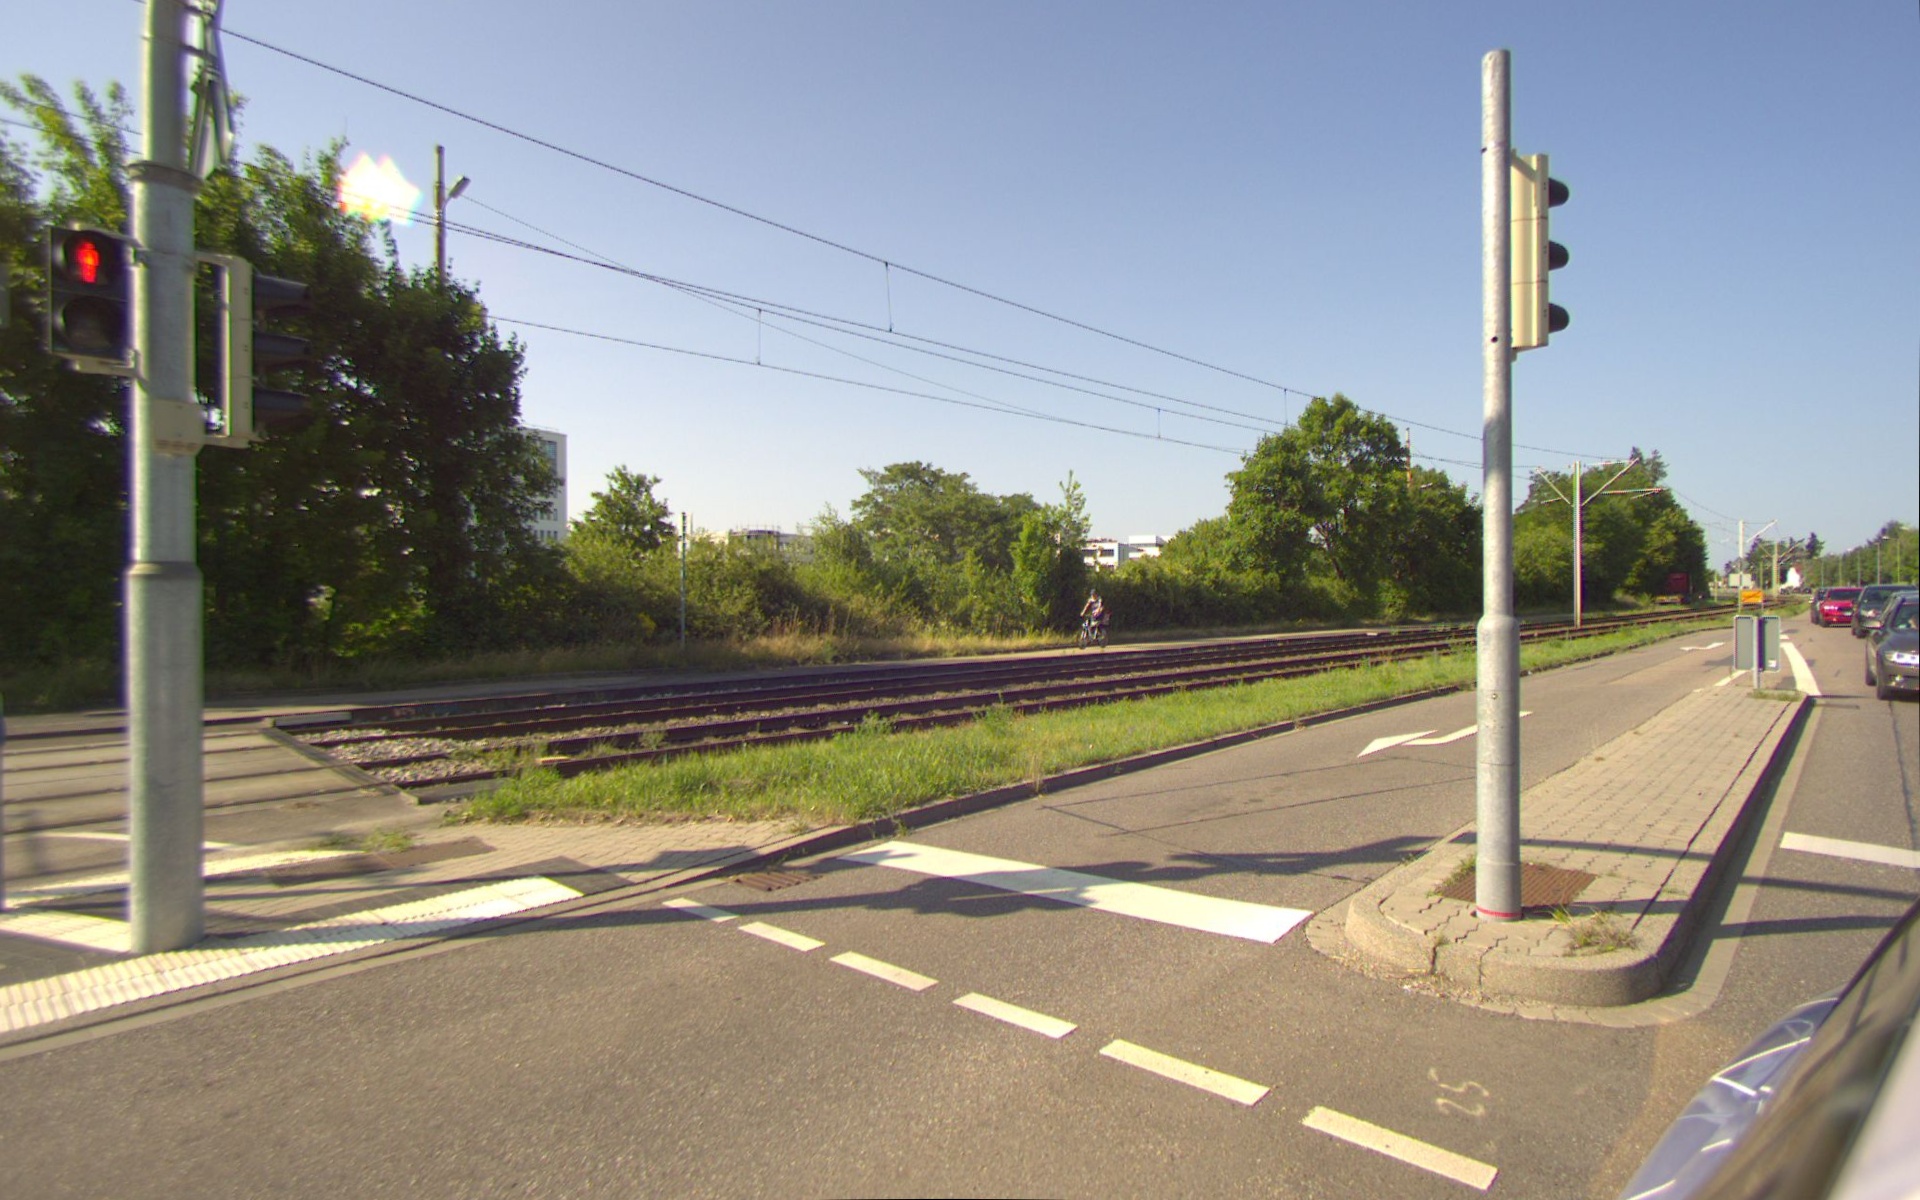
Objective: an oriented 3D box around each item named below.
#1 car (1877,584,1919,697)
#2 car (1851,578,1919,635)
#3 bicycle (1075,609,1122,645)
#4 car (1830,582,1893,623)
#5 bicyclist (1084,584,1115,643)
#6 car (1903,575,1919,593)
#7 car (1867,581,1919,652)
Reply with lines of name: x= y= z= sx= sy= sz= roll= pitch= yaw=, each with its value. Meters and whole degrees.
car: x=14.298 y=0.485 z=14.330 sx=1.814 sy=1.442 sz=4.395 roll=-2 pitch=0 yaw=41
car: x=29.193 y=0.157 z=31.709 sx=1.814 sy=1.672 sz=4.543 roll=-2 pitch=0 yaw=41
bicycle: x=4.379 y=0.831 z=31.917 sx=0.545 sy=1.060 sz=1.846 roll=0 pitch=0 yaw=41
car: x=36.225 y=0.065 z=40.728 sx=1.801 sy=1.525 sz=4.135 roll=0 pitch=1 yaw=41
bicyclist: x=4.399 y=0.402 z=31.968 sx=0.705 sy=1.831 sz=0.707 roll=0 pitch=0 yaw=42
car: x=96.026 y=-1.606 z=101.690 sx=1.631 sy=1.580 sz=3.621 roll=0 pitch=-2 yaw=40
car: x=22.295 y=0.332 z=23.448 sx=1.814 sy=1.508 sz=4.543 roll=0 pitch=1 yaw=41
